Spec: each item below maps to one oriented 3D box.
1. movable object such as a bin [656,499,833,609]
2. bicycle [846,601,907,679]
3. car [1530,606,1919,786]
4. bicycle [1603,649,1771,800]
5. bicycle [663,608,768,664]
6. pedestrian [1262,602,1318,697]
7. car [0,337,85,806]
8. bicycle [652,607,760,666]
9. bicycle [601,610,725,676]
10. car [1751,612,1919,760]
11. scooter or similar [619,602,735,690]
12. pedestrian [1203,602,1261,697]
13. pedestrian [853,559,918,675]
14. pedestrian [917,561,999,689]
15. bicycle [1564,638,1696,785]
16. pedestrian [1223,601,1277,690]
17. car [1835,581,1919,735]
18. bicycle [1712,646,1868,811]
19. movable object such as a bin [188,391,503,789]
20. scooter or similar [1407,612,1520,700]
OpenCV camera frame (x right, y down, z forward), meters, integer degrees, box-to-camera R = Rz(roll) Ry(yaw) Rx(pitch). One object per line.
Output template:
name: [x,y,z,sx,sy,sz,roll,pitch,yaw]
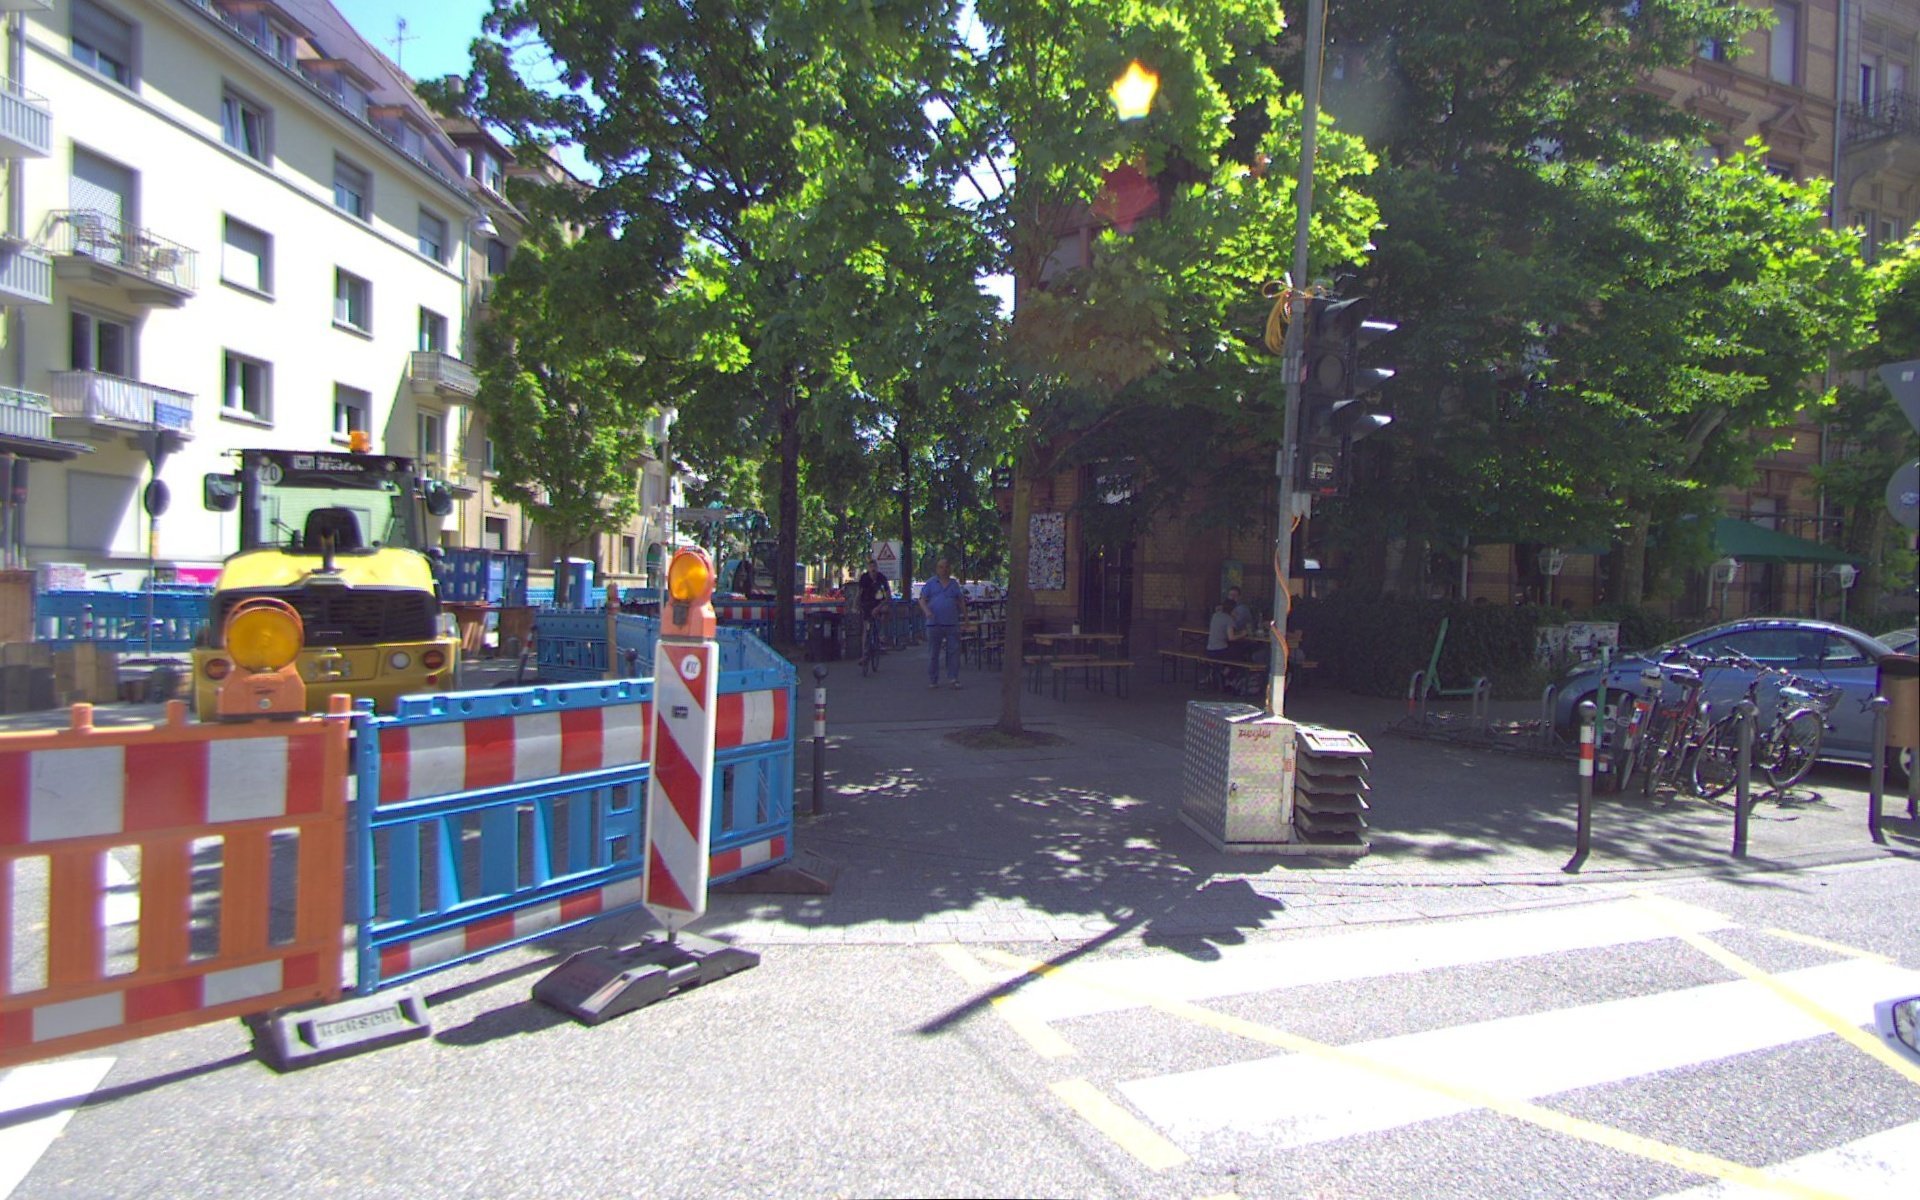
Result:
movable object such as a bin: [-6.973,-1.450,33.720,3.249,3.255,6.751,2,1,12]
bicycle: [-1.399,0.619,16.461,0.591,1.101,2.281,1,2,-14]
car: [8.300,0.882,10.283,3.940,1.394,1.990,4,3,41]
bicycle: [6.191,1.006,8.519,1.879,1.096,0.487,0,3,-34]
bicycle: [-4.446,0.653,18.346,1.778,0.947,0.491,2,1,-6]
pedestrian: [4.481,0.660,13.648,0.549,1.236,0.596,2,1,35]
car: [-6.056,-0.170,3.325,2.343,2.788,6.615,2,0,-19]
bicycle: [-4.440,0.640,17.637,1.778,1.002,0.491,0,1,-6]
bicycle: [-4.657,0.669,15.814,1.778,0.976,0.491,2,1,-6]
car: [11.095,0.978,10.821,3.937,1.431,1.963,4,3,38]
scooter or similar: [-3.778,0.614,13.410,1.450,1.121,0.523,1,1,-20]
pedestrian: [3.678,0.649,13.567,0.549,1.236,0.596,2,1,35]
pedestrian: [-1.216,0.256,16.290,0.850,1.814,1.005,1,2,-14]
pedestrian: [-0.036,0.337,14.012,0.918,1.727,0.635,1,3,-24]
bicycle: [5.913,0.940,8.837,1.603,1.172,0.335,0,3,-34]
pedestrian: [4.163,0.636,14.410,0.549,1.236,0.596,2,1,35]
car: [13.033,0.768,11.863,3.940,1.829,1.760,4,3,41]
bicycle: [6.877,1.007,8.296,1.667,1.189,0.487,0,3,-34]
movable object such as a bin: [-5.422,-0.099,9.281,1.930,2.695,4.525,1,1,-28]
scooter or similar: [6.718,0.751,13.400,1.444,1.136,0.278,1,3,-13]
